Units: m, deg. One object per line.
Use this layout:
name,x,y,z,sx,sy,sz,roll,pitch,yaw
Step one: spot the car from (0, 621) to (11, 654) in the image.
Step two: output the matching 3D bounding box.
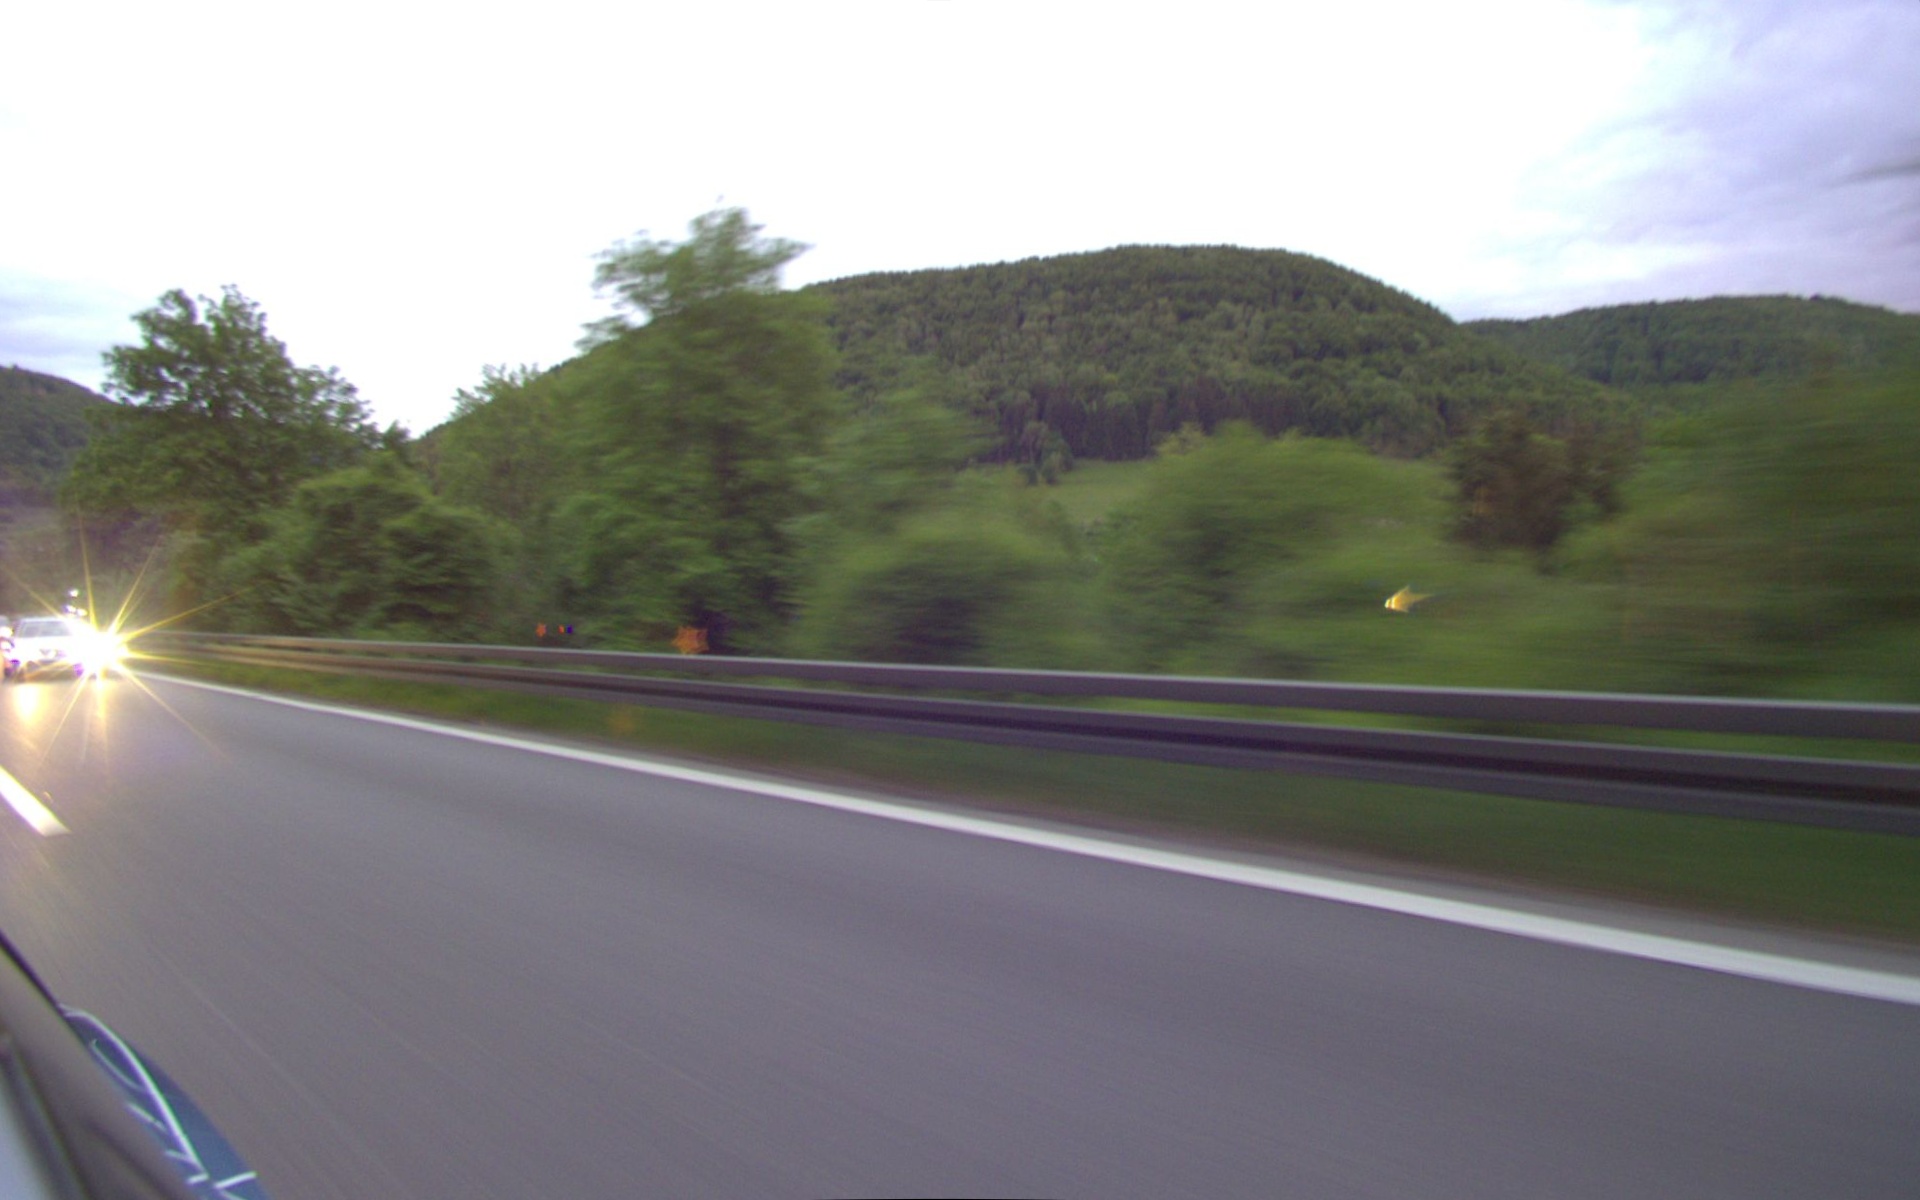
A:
car,-44.114,1.718,45.631,3.669,1.444,1.668,-1,0,43

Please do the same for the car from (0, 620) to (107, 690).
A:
car,-21.892,1.257,24.214,3.765,1.479,1.669,-1,0,41
